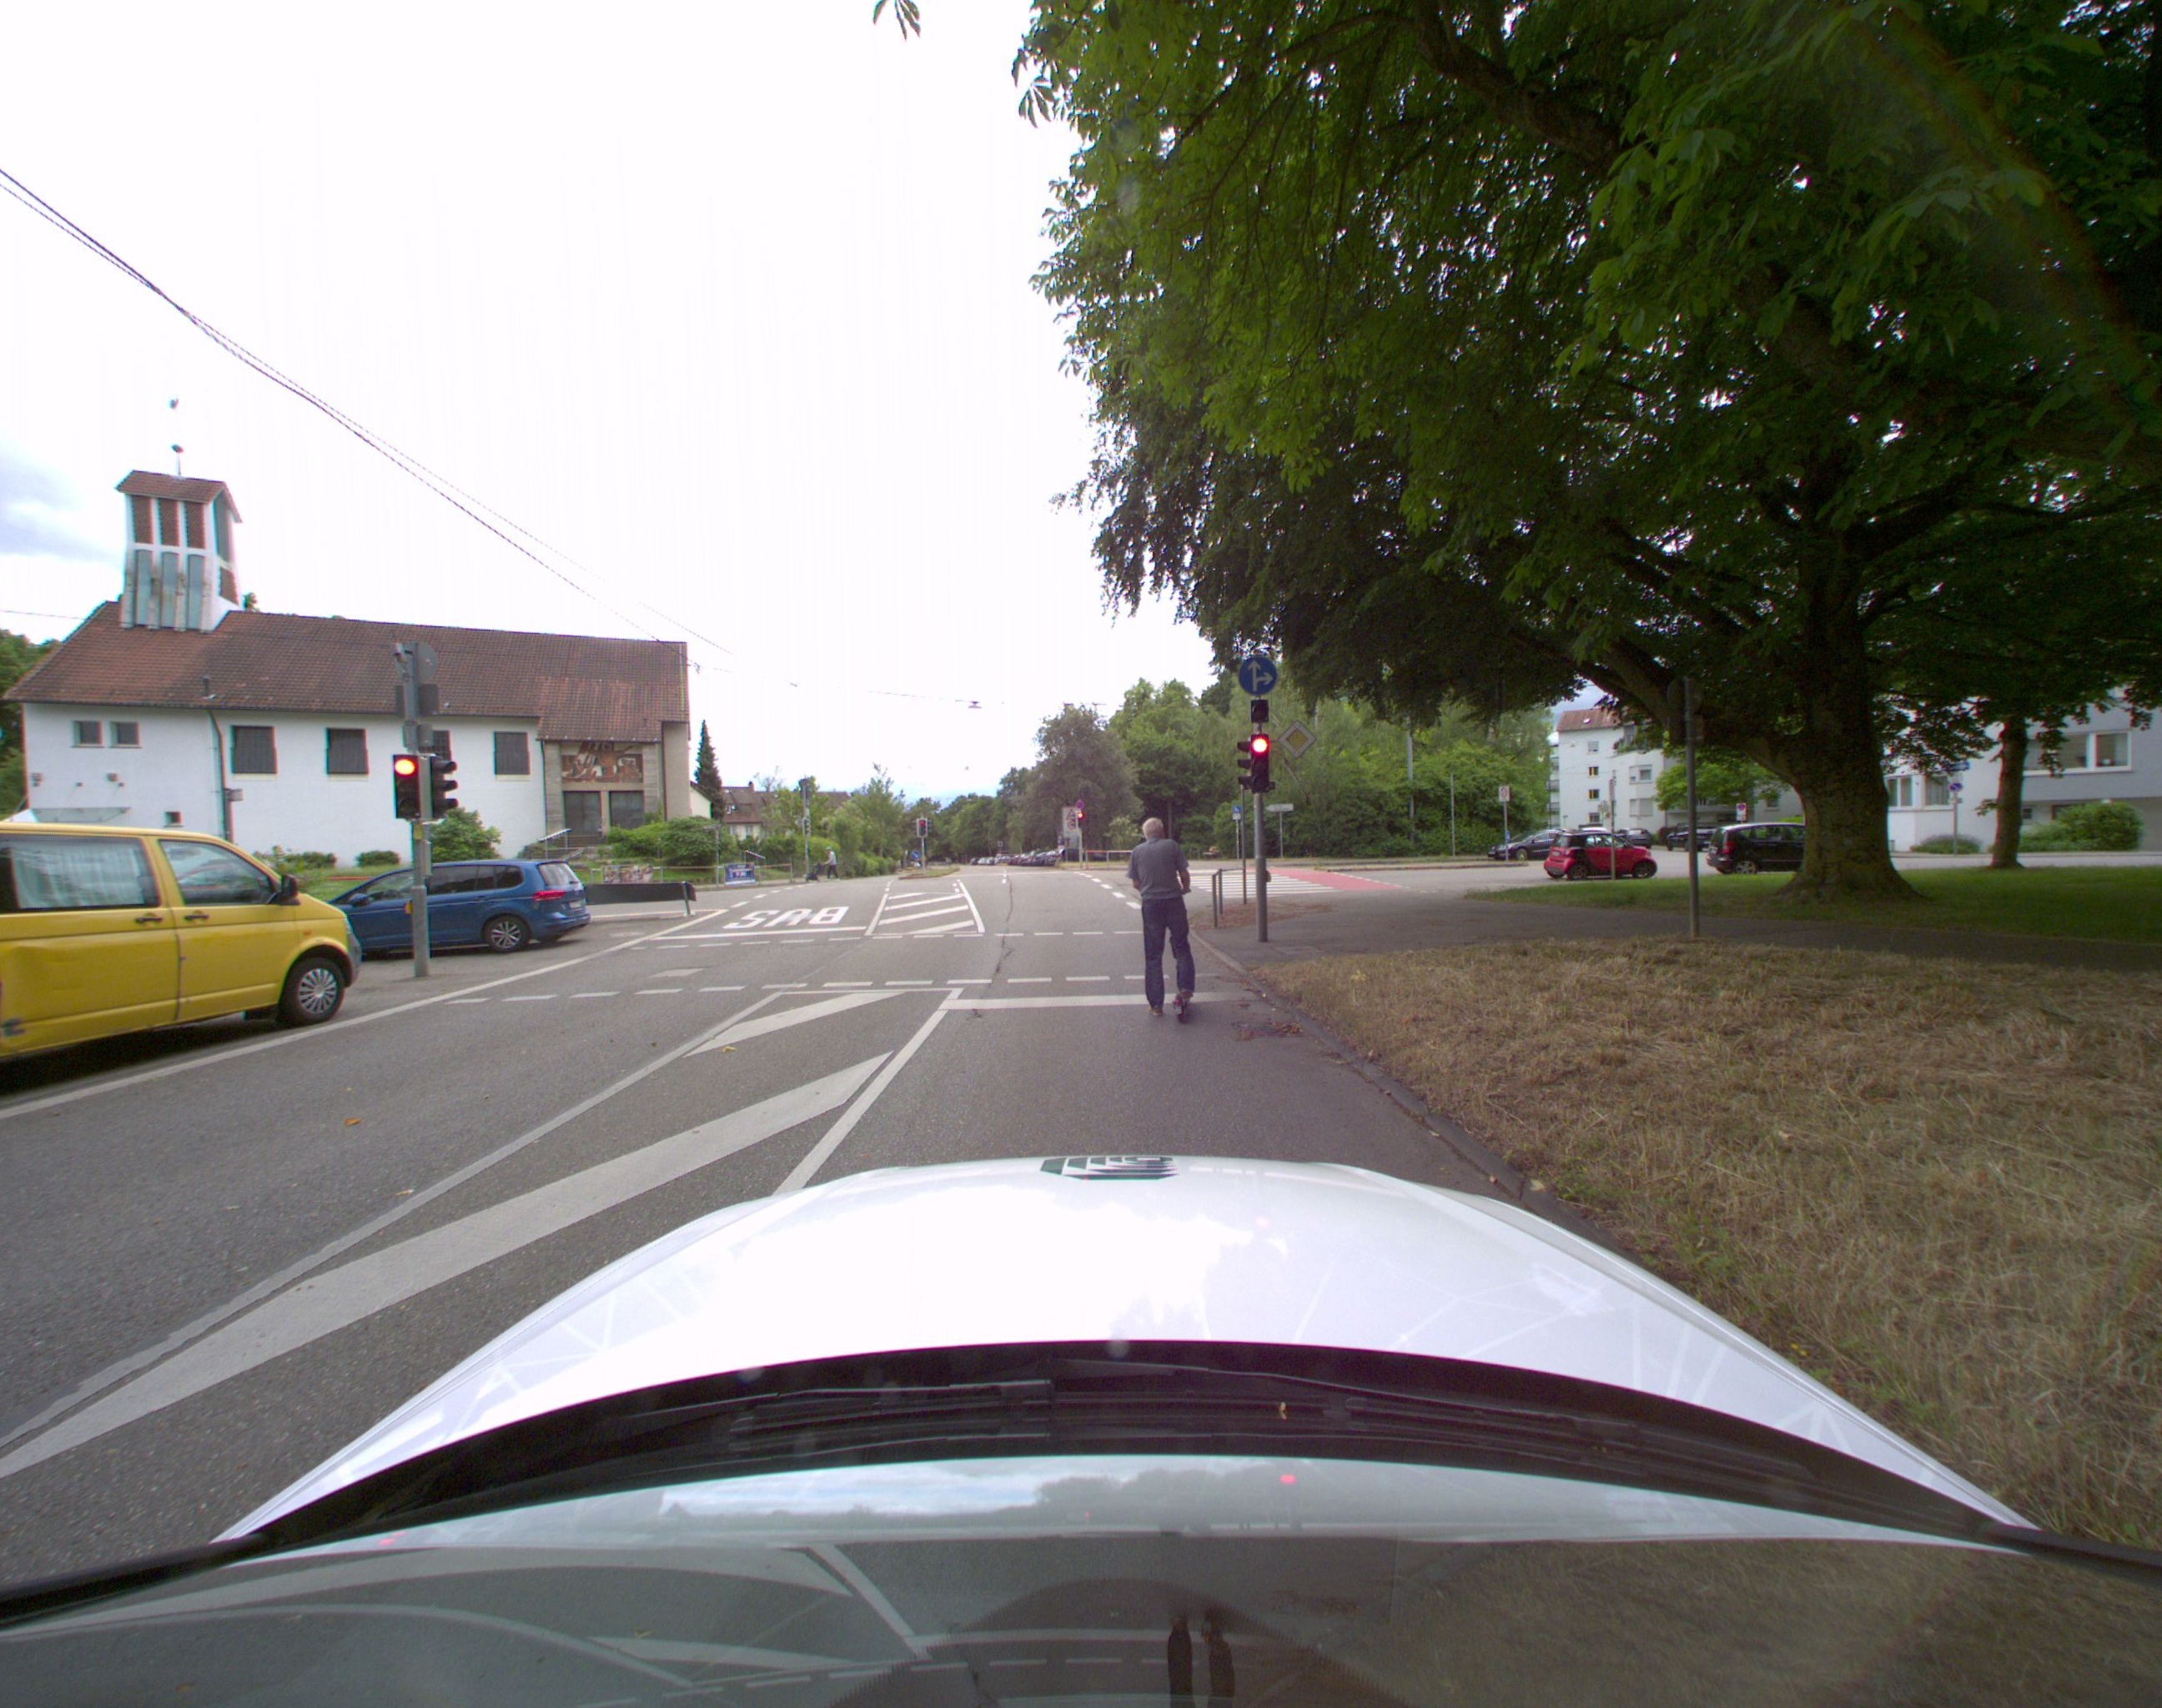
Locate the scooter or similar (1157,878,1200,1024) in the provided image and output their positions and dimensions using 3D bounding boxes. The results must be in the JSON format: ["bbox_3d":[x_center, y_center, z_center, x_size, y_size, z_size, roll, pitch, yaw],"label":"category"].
[{"bbox_3d":[0.913,0.841,7.490,0.280,1.178,1.180,-2,0,10],"label":"scooter or similar"}]

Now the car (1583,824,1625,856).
[{"bbox_3d":[28.783,-0.793,44.887,1.706,1.610,3.878,-3,1,30],"label":"car"}]

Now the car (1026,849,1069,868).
[{"bbox_3d":[-3.279,0.463,79.562,3.856,1.610,1.716,-3,1,-21],"label":"car"}]

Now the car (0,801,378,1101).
[{"bbox_3d":[-8.305,0.683,6.336,1.880,2.013,4.558,-2,0,-5],"label":"car"}]

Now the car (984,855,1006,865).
[{"bbox_3d":[-16.343,1.150,154.698,3.856,1.610,1.716,-3,1,-21],"label":"car"}]

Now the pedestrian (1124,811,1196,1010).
[{"bbox_3d":[0.750,0.521,7.670,0.569,1.813,0.421,-2,0,10],"label":"pedestrian"}]

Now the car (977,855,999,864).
[{"bbox_3d":[-18.157,1.118,159.470,3.856,1.610,1.716,-3,1,-21],"label":"car"}]

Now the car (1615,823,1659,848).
[{"bbox_3d":[38.953,-1.282,57.131,1.707,1.610,3.875,-3,1,22],"label":"car"}]

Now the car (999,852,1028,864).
[{"bbox_3d":[-10.123,0.618,122.350,3.856,1.610,1.716,-3,1,-21],"label":"car"}]

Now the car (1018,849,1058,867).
[{"bbox_3d":[-4.600,0.414,86.949,3.856,1.610,1.716,-3,1,-21],"label":"car"}]

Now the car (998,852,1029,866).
[{"bbox_3d":[-9.051,0.667,109.346,3.856,1.610,1.716,-3,1,-21],"label":"car"}]

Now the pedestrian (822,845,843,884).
[{"bbox_3d":[-12.329,0.512,40.374,0.884,1.862,0.572,-2,0,-12],"label":"pedestrian"}]

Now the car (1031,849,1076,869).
[{"bbox_3d":[-2.592,0.453,77.002,3.857,1.610,1.715,-3,1,-22],"label":"car"}]

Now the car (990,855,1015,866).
[{"bbox_3d":[-13.442,1.117,139.781,3.856,1.610,1.716,-3,1,-21],"label":"car"}]

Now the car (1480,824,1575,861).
[{"bbox_3d":[21.108,-0.564,38.596,3.498,1.530,1.732,-3,0,8],"label":"car"}]

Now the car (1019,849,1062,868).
[{"bbox_3d":[-4.049,0.438,81.618,3.856,1.610,1.716,-3,1,-21],"label":"car"}]

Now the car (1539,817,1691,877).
[{"bbox_3d":[16.521,-0.210,25.353,3.499,1.610,1.732,-3,0,7],"label":"car"}]

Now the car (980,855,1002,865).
[{"bbox_3d":[-17.321,1.113,156.856,3.856,1.610,1.716,-3,1,-21],"label":"car"}]

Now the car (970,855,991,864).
[{"bbox_3d":[-20.496,1.130,166.576,3.856,1.610,1.716,-3,1,-21],"label":"car"}]

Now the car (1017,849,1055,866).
[{"bbox_3d":[-4.933,0.420,89.371,3.856,1.610,1.716,-3,1,-21],"label":"car"}]

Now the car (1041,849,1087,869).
[{"bbox_3d":[-1.582,0.426,75.006,3.854,1.610,1.717,-3,0,-19],"label":"car"}]

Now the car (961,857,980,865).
[{"bbox_3d":[-24.228,1.513,178.804,3.856,1.610,1.716,-3,1,-21],"label":"car"}]

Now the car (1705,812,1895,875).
[{"bbox_3d":[20.828,-0.298,23.795,3.805,1.610,1.739,-3,1,27],"label":"car"}]

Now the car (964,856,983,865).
[{"bbox_3d":[-23.314,1.422,176.443,3.856,1.610,1.716,-3,1,-21],"label":"car"}]

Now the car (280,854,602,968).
[{"bbox_3d":[-11.069,0.915,14.422,3.992,1.610,1.810,-3,0,-14],"label":"car"}]

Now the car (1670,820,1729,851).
[{"bbox_3d":[35.566,-1.073,46.921,1.707,1.610,3.875,-3,1,22],"label":"car"}]

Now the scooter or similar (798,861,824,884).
[{"bbox_3d":[-13.299,0.924,40.181,1.108,1.081,0.575,-2,0,-10],"label":"scooter or similar"}]

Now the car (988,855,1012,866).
[{"bbox_3d":[-14.327,1.123,143.336,3.856,1.610,1.716,-3,1,-21],"label":"car"}]
